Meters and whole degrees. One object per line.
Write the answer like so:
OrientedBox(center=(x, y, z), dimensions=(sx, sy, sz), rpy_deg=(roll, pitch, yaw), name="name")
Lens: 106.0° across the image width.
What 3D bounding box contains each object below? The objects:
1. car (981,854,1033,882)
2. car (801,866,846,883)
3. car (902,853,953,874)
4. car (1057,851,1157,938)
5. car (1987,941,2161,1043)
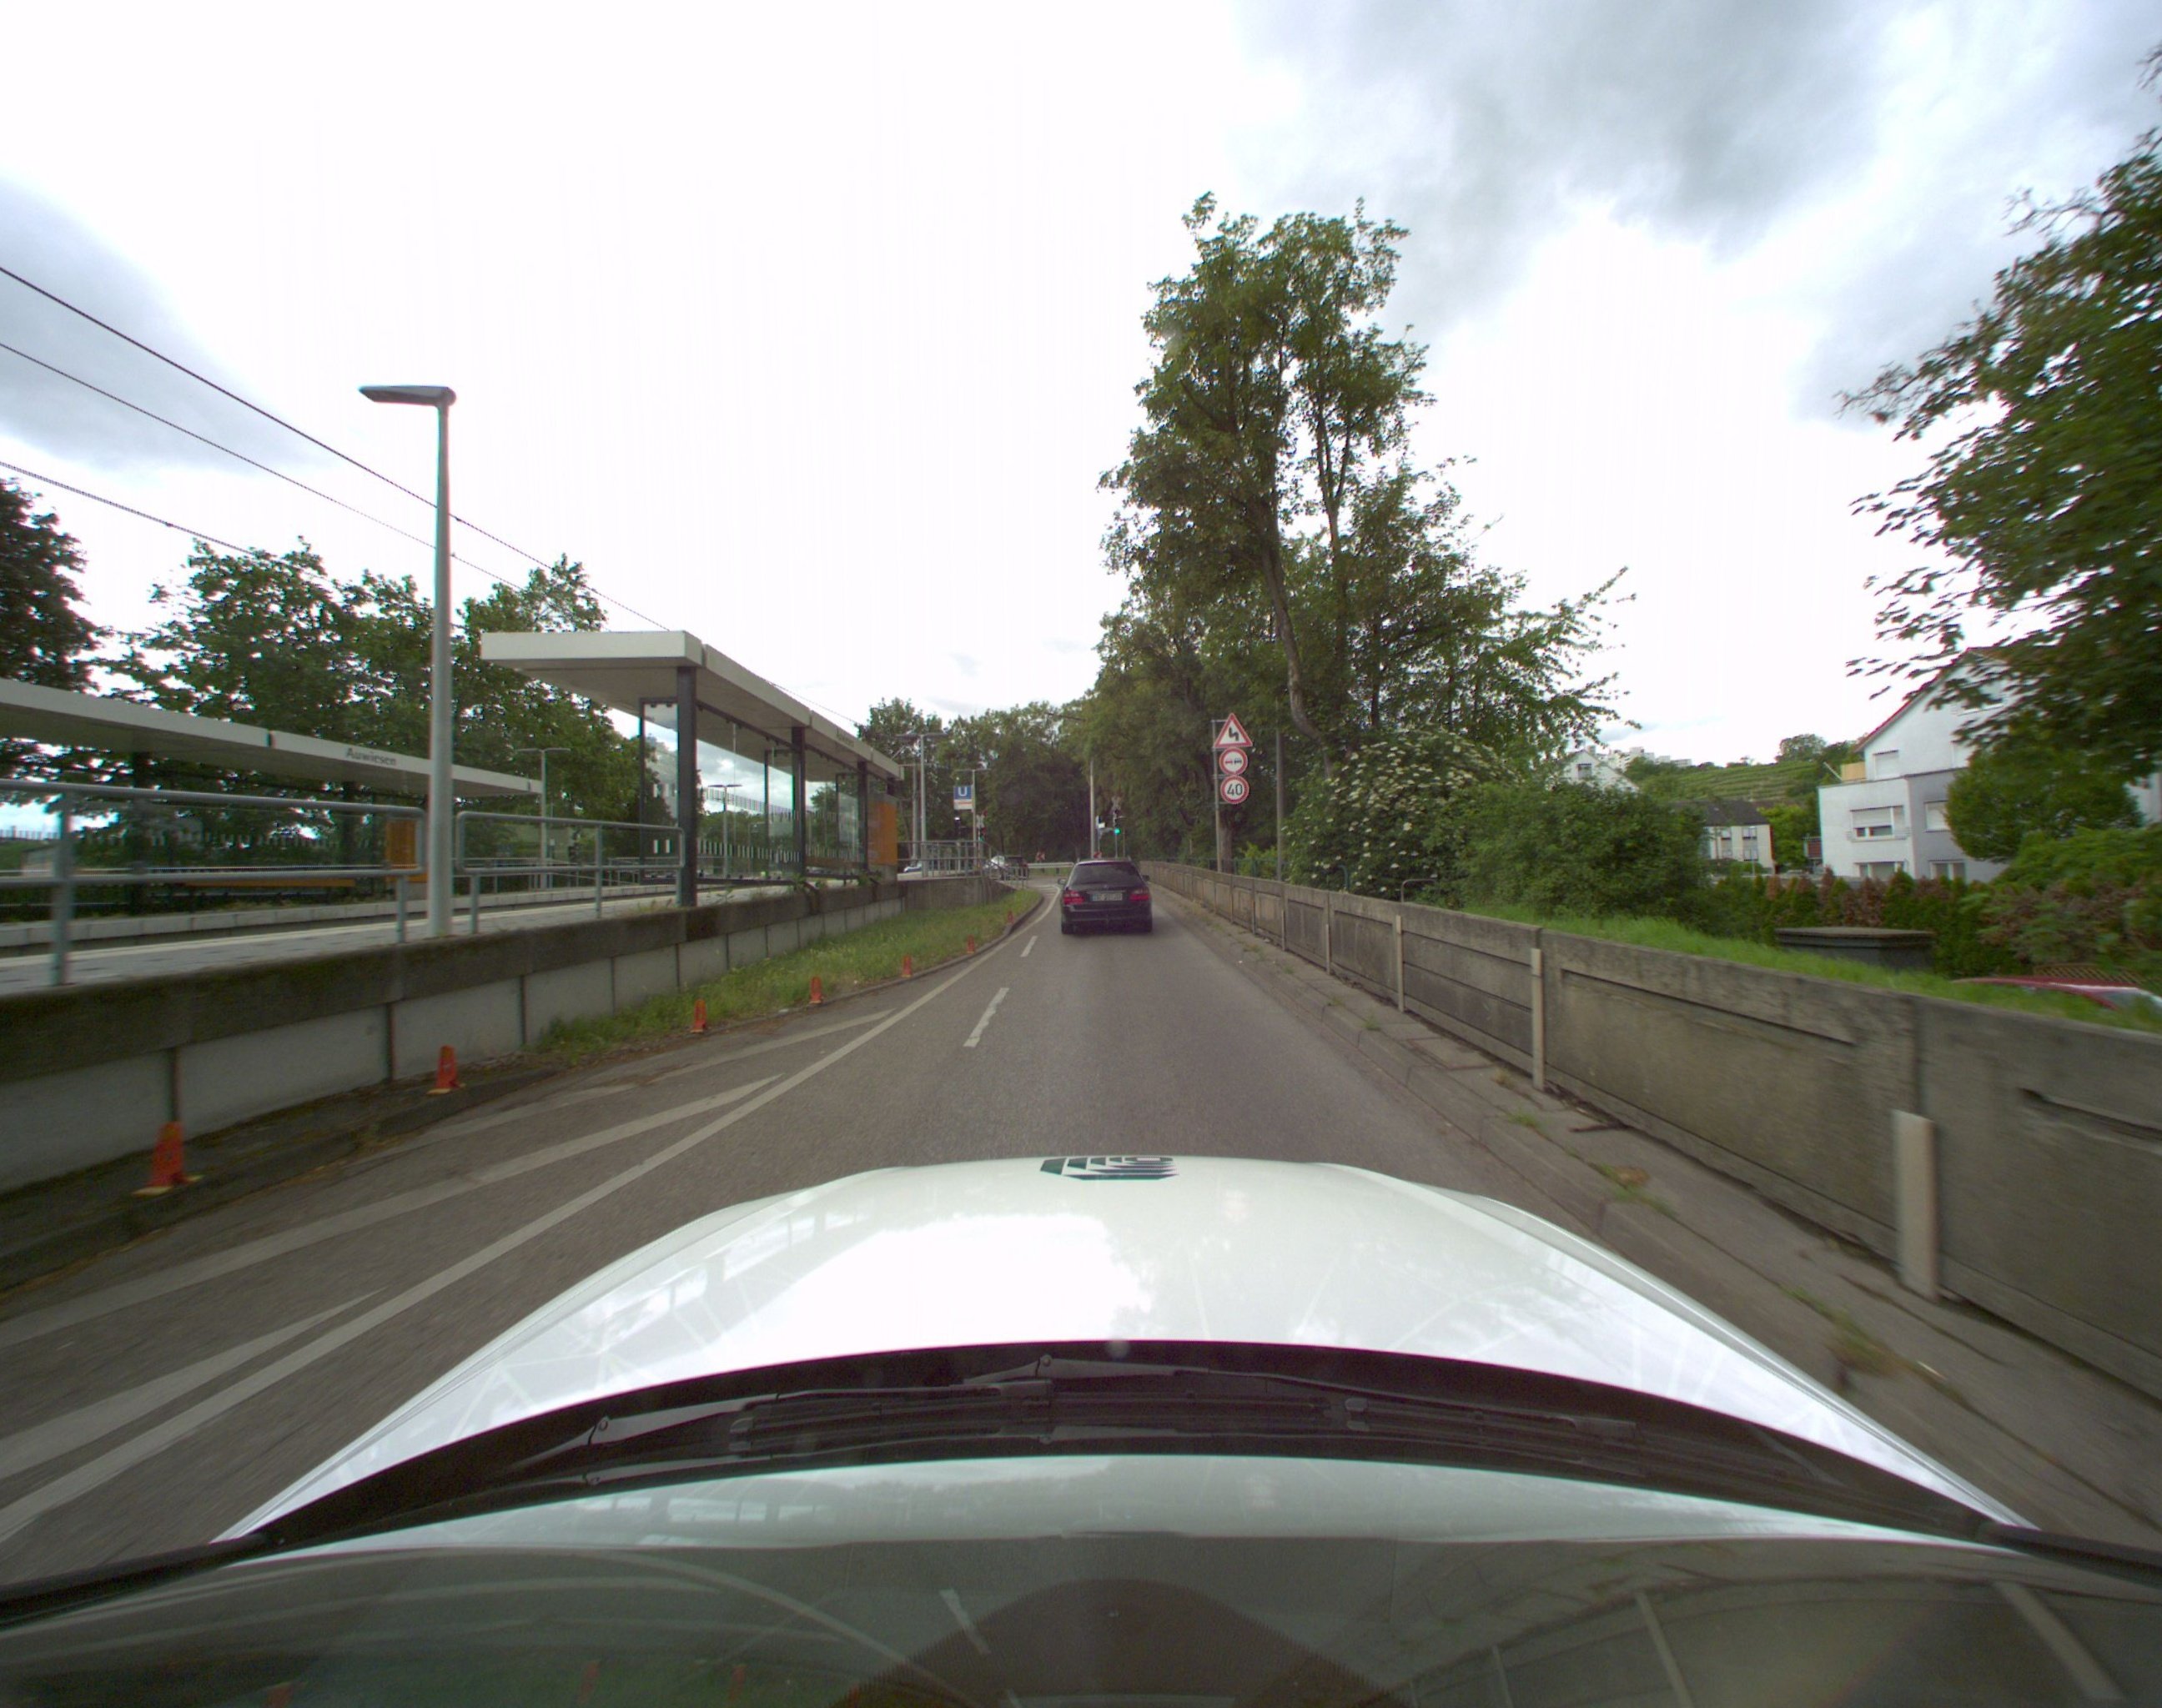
OrientedBox(center=(-4.612, 0.872, 50.353), dimensions=(1.792, 1.648, 3.962), rpy_deg=(-1, 0, -29), name="car")
OrientedBox(center=(-21.959, 1.737, 69.299), dimensions=(3.950, 1.399, 2.012), rpy_deg=(-1, 0, 44), name="car")
OrientedBox(center=(-11.279, 0.702, 59.667), dimensions=(2.010, 1.399, 3.954), rpy_deg=(-1, 0, -38), name="car")
OrientedBox(center=(0.481, 0.732, 16.930), dimensions=(1.776, 1.525, 3.999), rpy_deg=(-2, 0, 0), name="car")
OrientedBox(center=(15.997, 2.042, 11.649), dimensions=(1.619, 1.262, 3.998), rpy_deg=(0, -2, 0), name="car")
